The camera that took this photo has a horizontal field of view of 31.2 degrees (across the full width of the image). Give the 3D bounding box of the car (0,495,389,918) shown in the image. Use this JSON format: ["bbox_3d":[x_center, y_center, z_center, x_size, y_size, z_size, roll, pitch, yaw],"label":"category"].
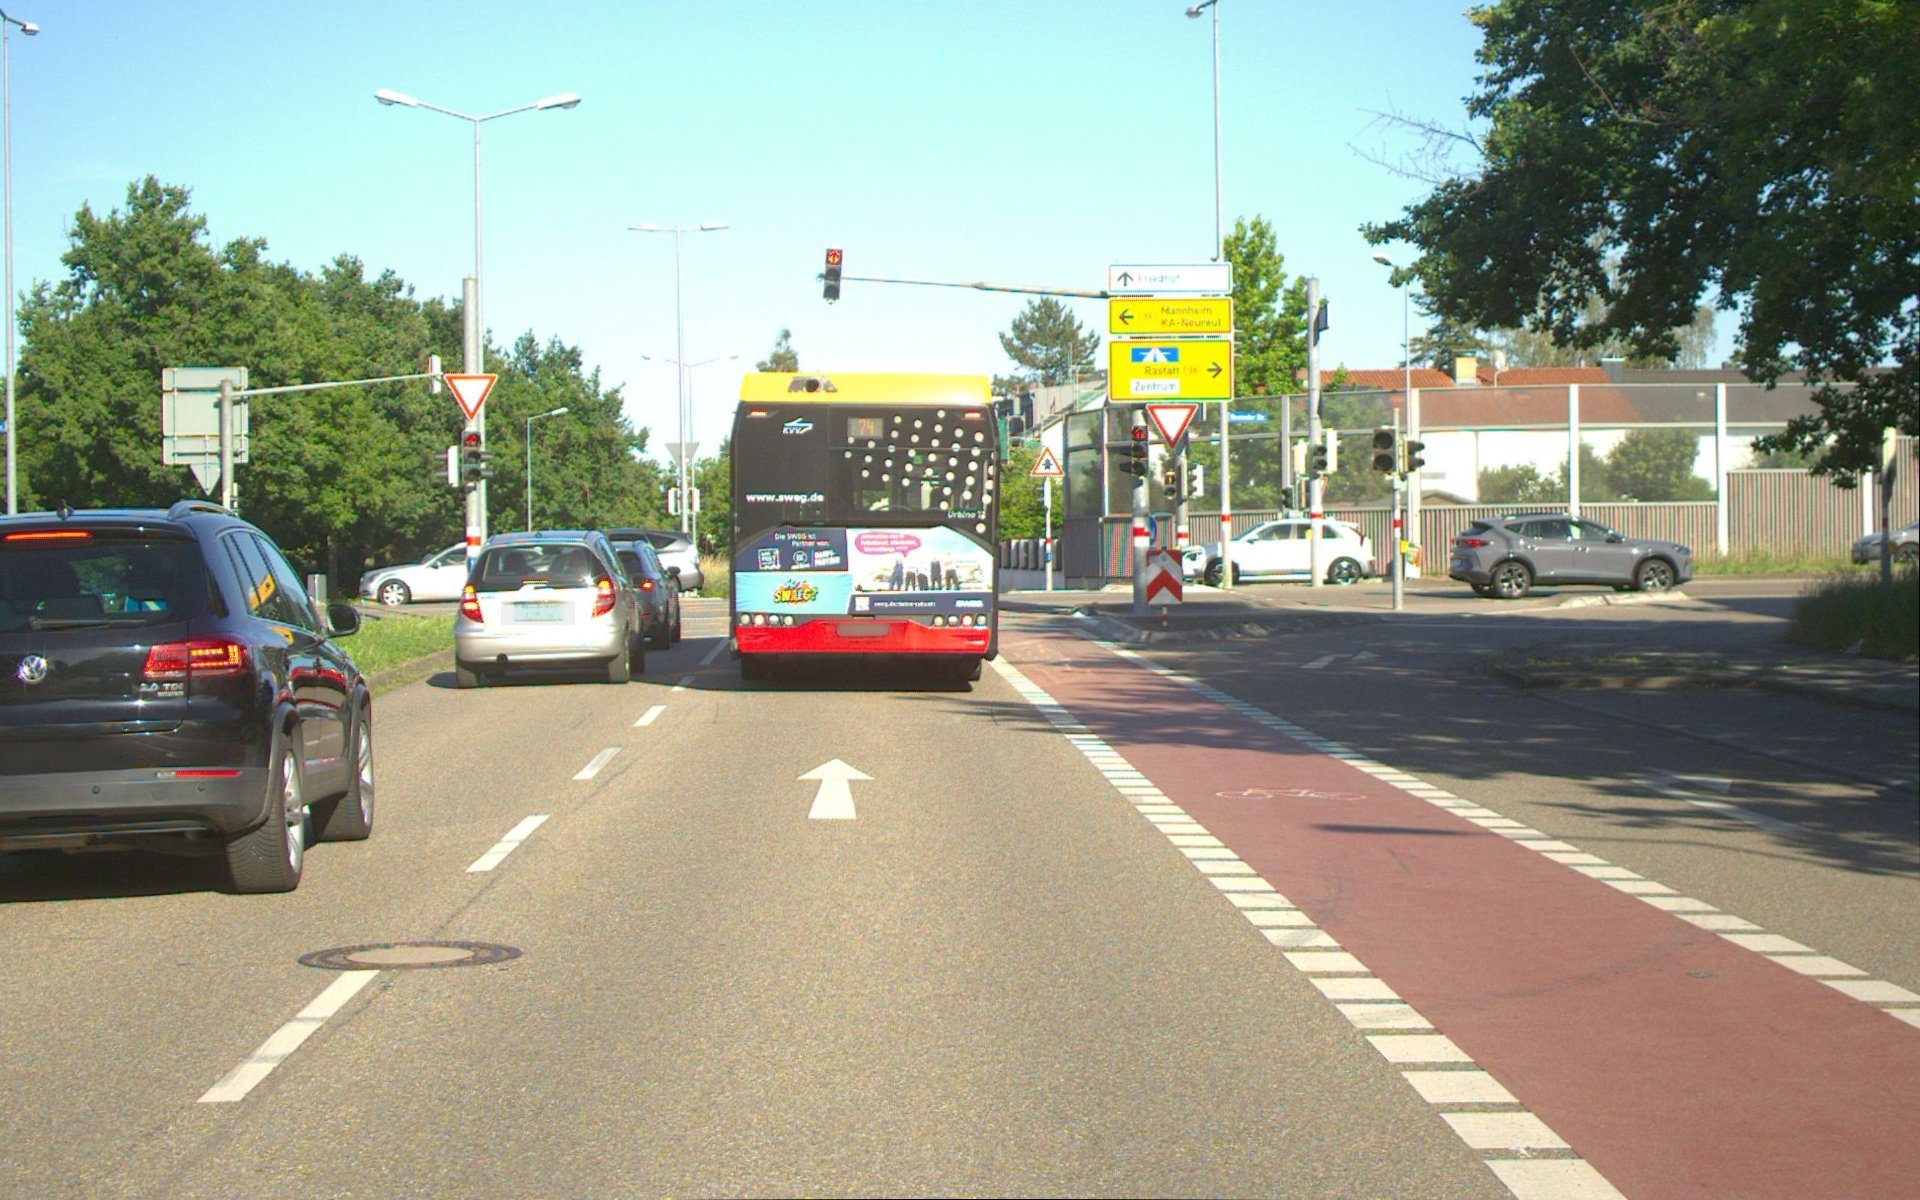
[{"bbox_3d":[-3.754,0.421,15.641,1.821,1.668,4.003,-1,0,-3],"label":"car"}]

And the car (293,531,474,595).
[{"bbox_3d":[-12.734,-0.813,76.075,3.845,1.335,1.683,1,0,-6],"label":"car"}]

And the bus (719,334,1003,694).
[{"bbox_3d":[-1.057,-0.917,37.994,2.596,3.323,11.985,1,1,-1],"label":"bus"}]

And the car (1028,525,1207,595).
[{"bbox_3d":[3.711,-0.955,81.297,3.986,1.606,1.696,0,1,-6],"label":"car"}]

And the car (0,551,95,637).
[{"bbox_3d":[-17.383,-0.092,59.502,4.461,1.436,1.683,-1,1,-6],"label":"car"}]

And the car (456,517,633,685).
[{"bbox_3d":[-4.425,-0.042,36.581,1.753,1.614,4.035,-1,2,-7],"label":"car"}]

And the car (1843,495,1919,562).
[{"bbox_3d":[22.204,-1.571,77.013,4.413,1.454,1.575,1,0,-4],"label":"car"}]

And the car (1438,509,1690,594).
[{"bbox_3d":[11.063,-0.875,63.105,4.220,1.475,1.764,1,0,-5],"label":"car"}]

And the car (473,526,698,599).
[{"bbox_3d":[-8.016,-0.809,73.554,4.701,1.535,2.000,0,1,-7],"label":"car"}]

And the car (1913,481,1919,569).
[{"bbox_3d":[15.814,-1.079,50.457,3.396,1.291,1.461,1,0,-26],"label":"car"}]

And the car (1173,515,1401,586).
[{"bbox_3d":[7.136,-1.096,75.387,4.701,1.535,2.000,0,1,-5],"label":"car"}]

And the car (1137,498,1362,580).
[{"bbox_3d":[5.748,-1.211,68.542,4.220,1.557,1.764,1,0,-5],"label":"car"}]

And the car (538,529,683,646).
[{"bbox_3d":[-4.598,-0.168,45.616,1.588,1.480,3.682,-1,0,-1],"label":"car"}]

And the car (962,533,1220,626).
[{"bbox_3d":[1.875,-0.305,48.769,3.523,1.298,1.574,0,1,8],"label":"car"}]

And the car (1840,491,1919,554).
[{"bbox_3d":[20.981,-1.620,72.978,4.159,1.298,1.575,1,0,-4],"label":"car"}]
